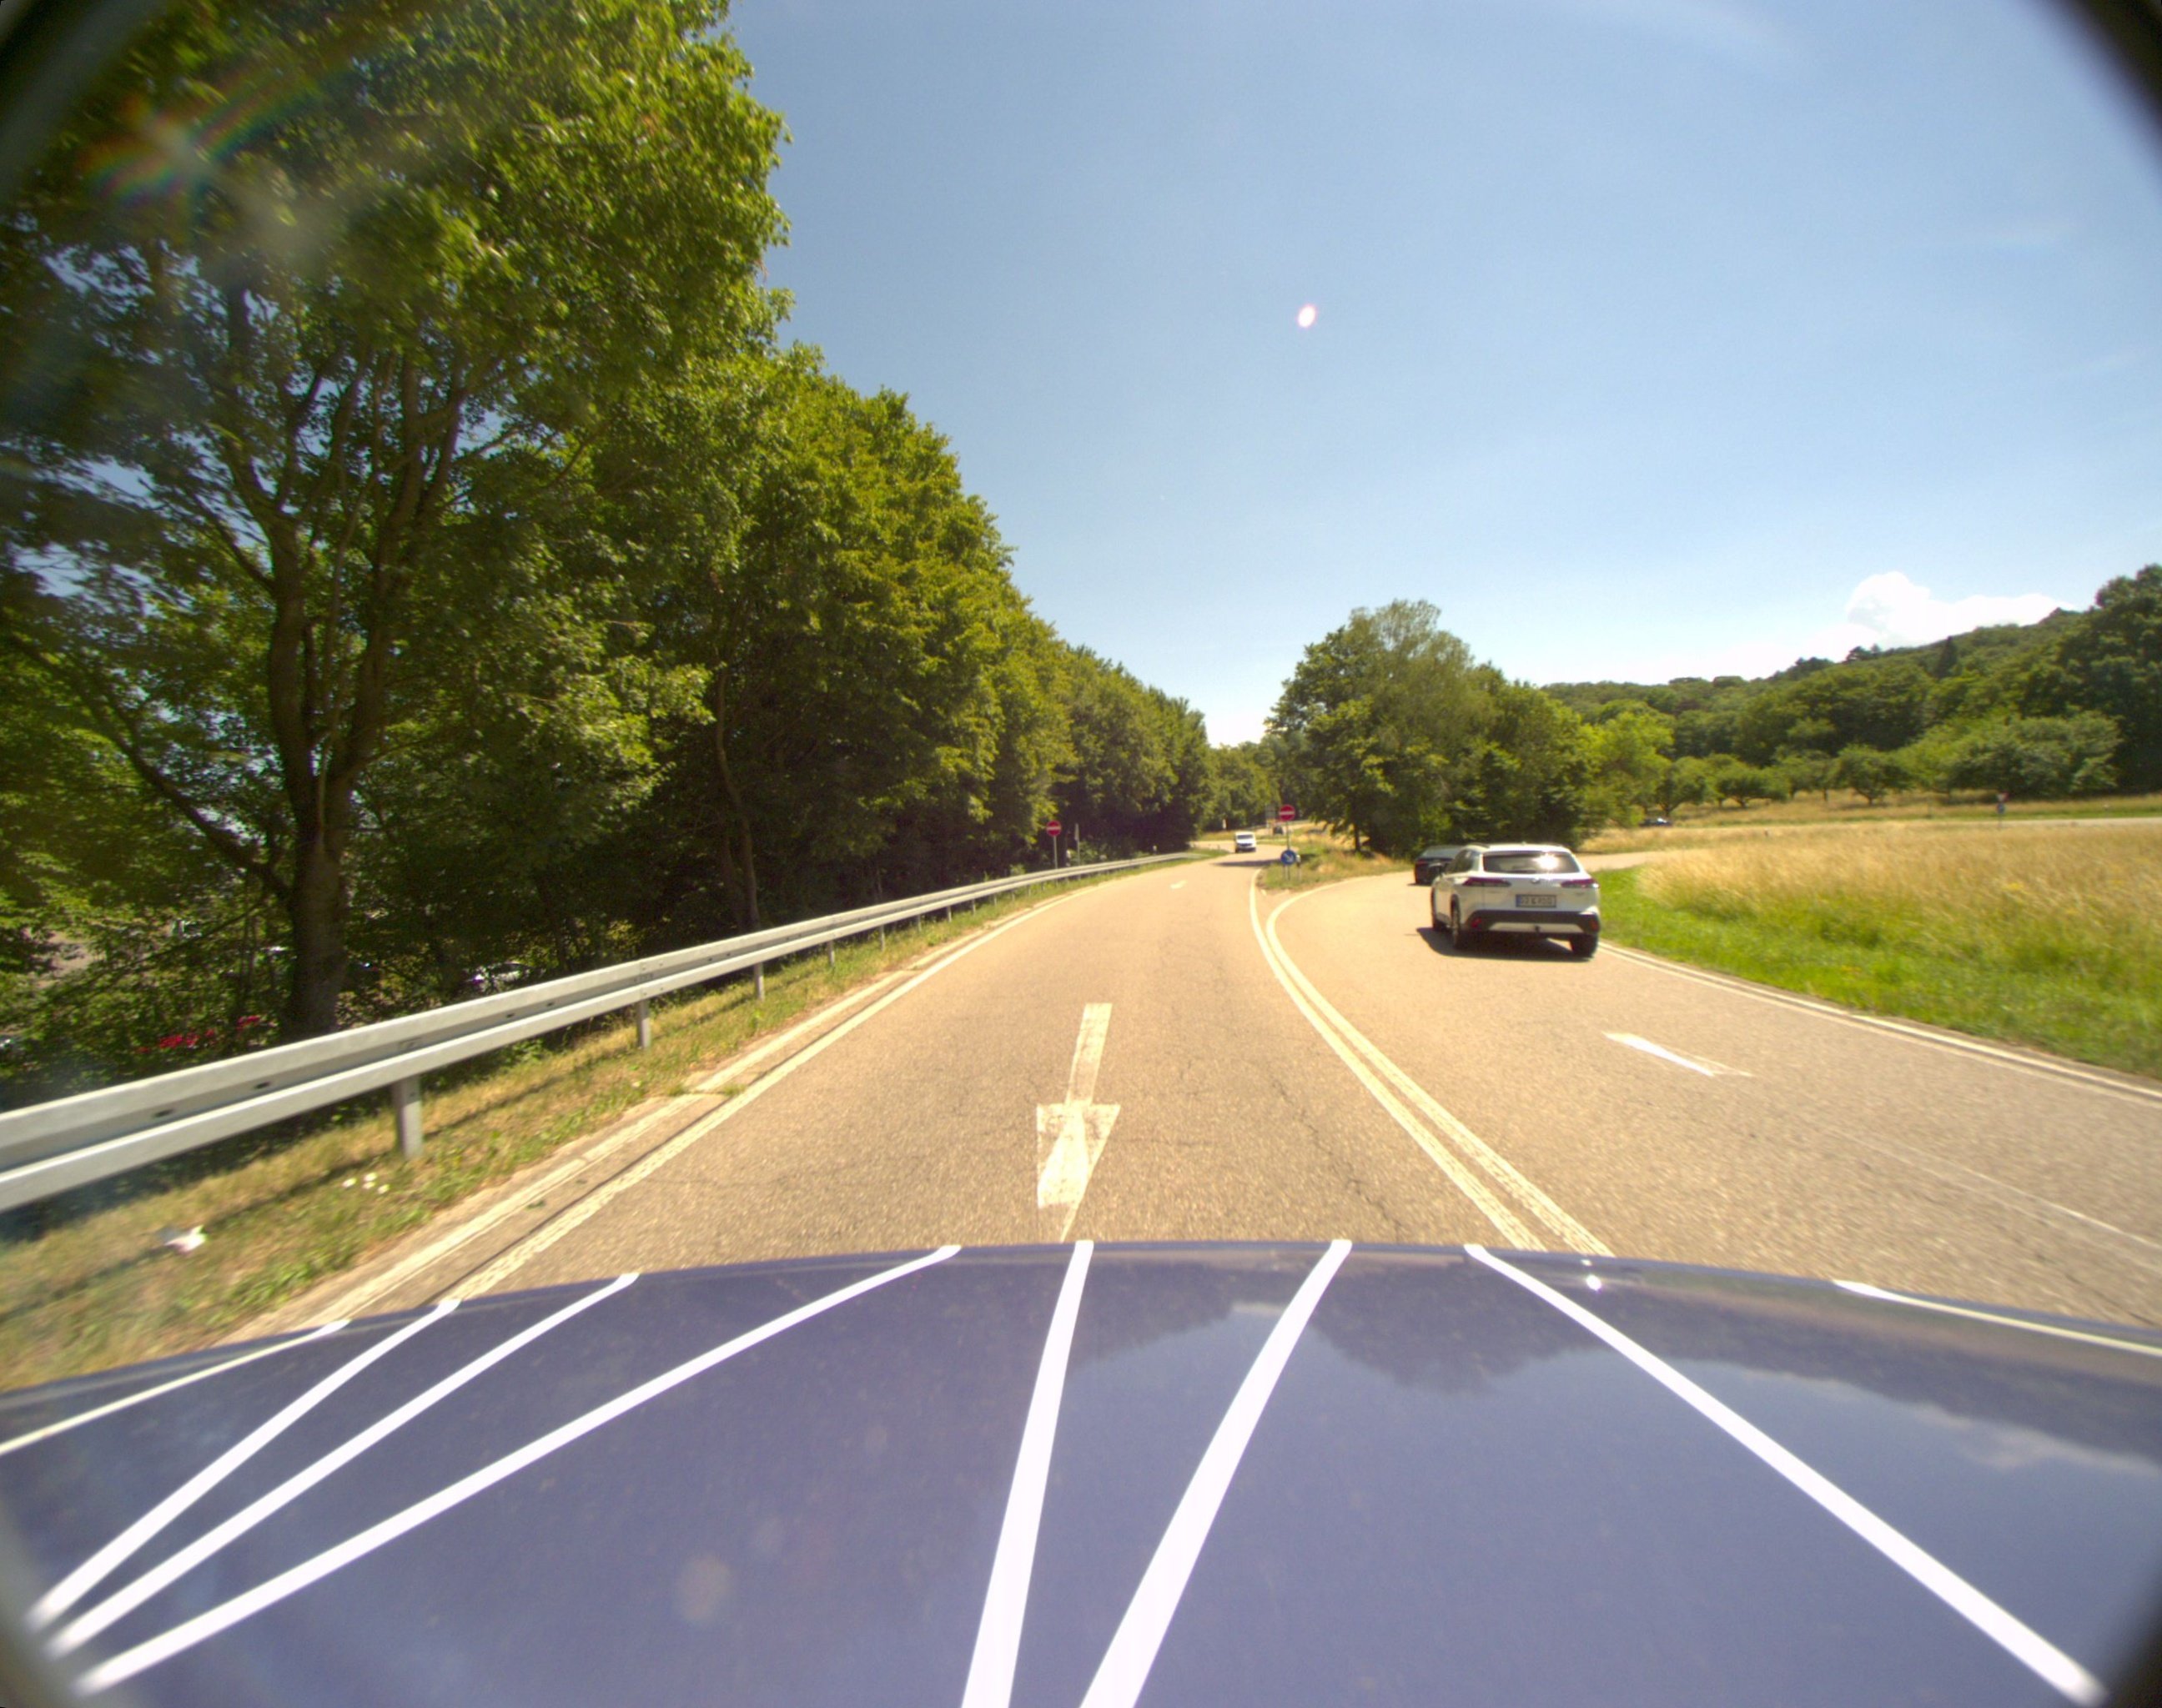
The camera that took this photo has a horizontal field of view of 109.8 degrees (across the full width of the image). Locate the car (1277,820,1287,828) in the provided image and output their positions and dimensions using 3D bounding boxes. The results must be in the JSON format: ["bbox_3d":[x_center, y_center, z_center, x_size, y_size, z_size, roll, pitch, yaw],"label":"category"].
[{"bbox_3d":[35.074,-5.218,132.723,1.469,1.320,2.961,-3,4,10],"label":"car"}]

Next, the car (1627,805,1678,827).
[{"bbox_3d":[60.150,-3.991,80.017,2.003,2.003,3.988,-7,5,-42],"label":"car"}]

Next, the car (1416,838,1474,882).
[{"bbox_3d":[13.919,0.167,28.908,1.803,1.498,4.666,1,2,28],"label":"car"}]

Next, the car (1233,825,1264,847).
[{"bbox_3d":[16.873,-1.831,76.219,2.221,2.021,5.434,-3,1,21],"label":"car"}]

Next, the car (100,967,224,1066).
[{"bbox_3d":[-26.052,4.486,21.628,3.989,2.002,2.004,-2,1,40],"label":"car"}]

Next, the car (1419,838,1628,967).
[{"bbox_3d":[6.690,0.573,12.035,1.824,1.582,4.222,2,2,16],"label":"car"}]
